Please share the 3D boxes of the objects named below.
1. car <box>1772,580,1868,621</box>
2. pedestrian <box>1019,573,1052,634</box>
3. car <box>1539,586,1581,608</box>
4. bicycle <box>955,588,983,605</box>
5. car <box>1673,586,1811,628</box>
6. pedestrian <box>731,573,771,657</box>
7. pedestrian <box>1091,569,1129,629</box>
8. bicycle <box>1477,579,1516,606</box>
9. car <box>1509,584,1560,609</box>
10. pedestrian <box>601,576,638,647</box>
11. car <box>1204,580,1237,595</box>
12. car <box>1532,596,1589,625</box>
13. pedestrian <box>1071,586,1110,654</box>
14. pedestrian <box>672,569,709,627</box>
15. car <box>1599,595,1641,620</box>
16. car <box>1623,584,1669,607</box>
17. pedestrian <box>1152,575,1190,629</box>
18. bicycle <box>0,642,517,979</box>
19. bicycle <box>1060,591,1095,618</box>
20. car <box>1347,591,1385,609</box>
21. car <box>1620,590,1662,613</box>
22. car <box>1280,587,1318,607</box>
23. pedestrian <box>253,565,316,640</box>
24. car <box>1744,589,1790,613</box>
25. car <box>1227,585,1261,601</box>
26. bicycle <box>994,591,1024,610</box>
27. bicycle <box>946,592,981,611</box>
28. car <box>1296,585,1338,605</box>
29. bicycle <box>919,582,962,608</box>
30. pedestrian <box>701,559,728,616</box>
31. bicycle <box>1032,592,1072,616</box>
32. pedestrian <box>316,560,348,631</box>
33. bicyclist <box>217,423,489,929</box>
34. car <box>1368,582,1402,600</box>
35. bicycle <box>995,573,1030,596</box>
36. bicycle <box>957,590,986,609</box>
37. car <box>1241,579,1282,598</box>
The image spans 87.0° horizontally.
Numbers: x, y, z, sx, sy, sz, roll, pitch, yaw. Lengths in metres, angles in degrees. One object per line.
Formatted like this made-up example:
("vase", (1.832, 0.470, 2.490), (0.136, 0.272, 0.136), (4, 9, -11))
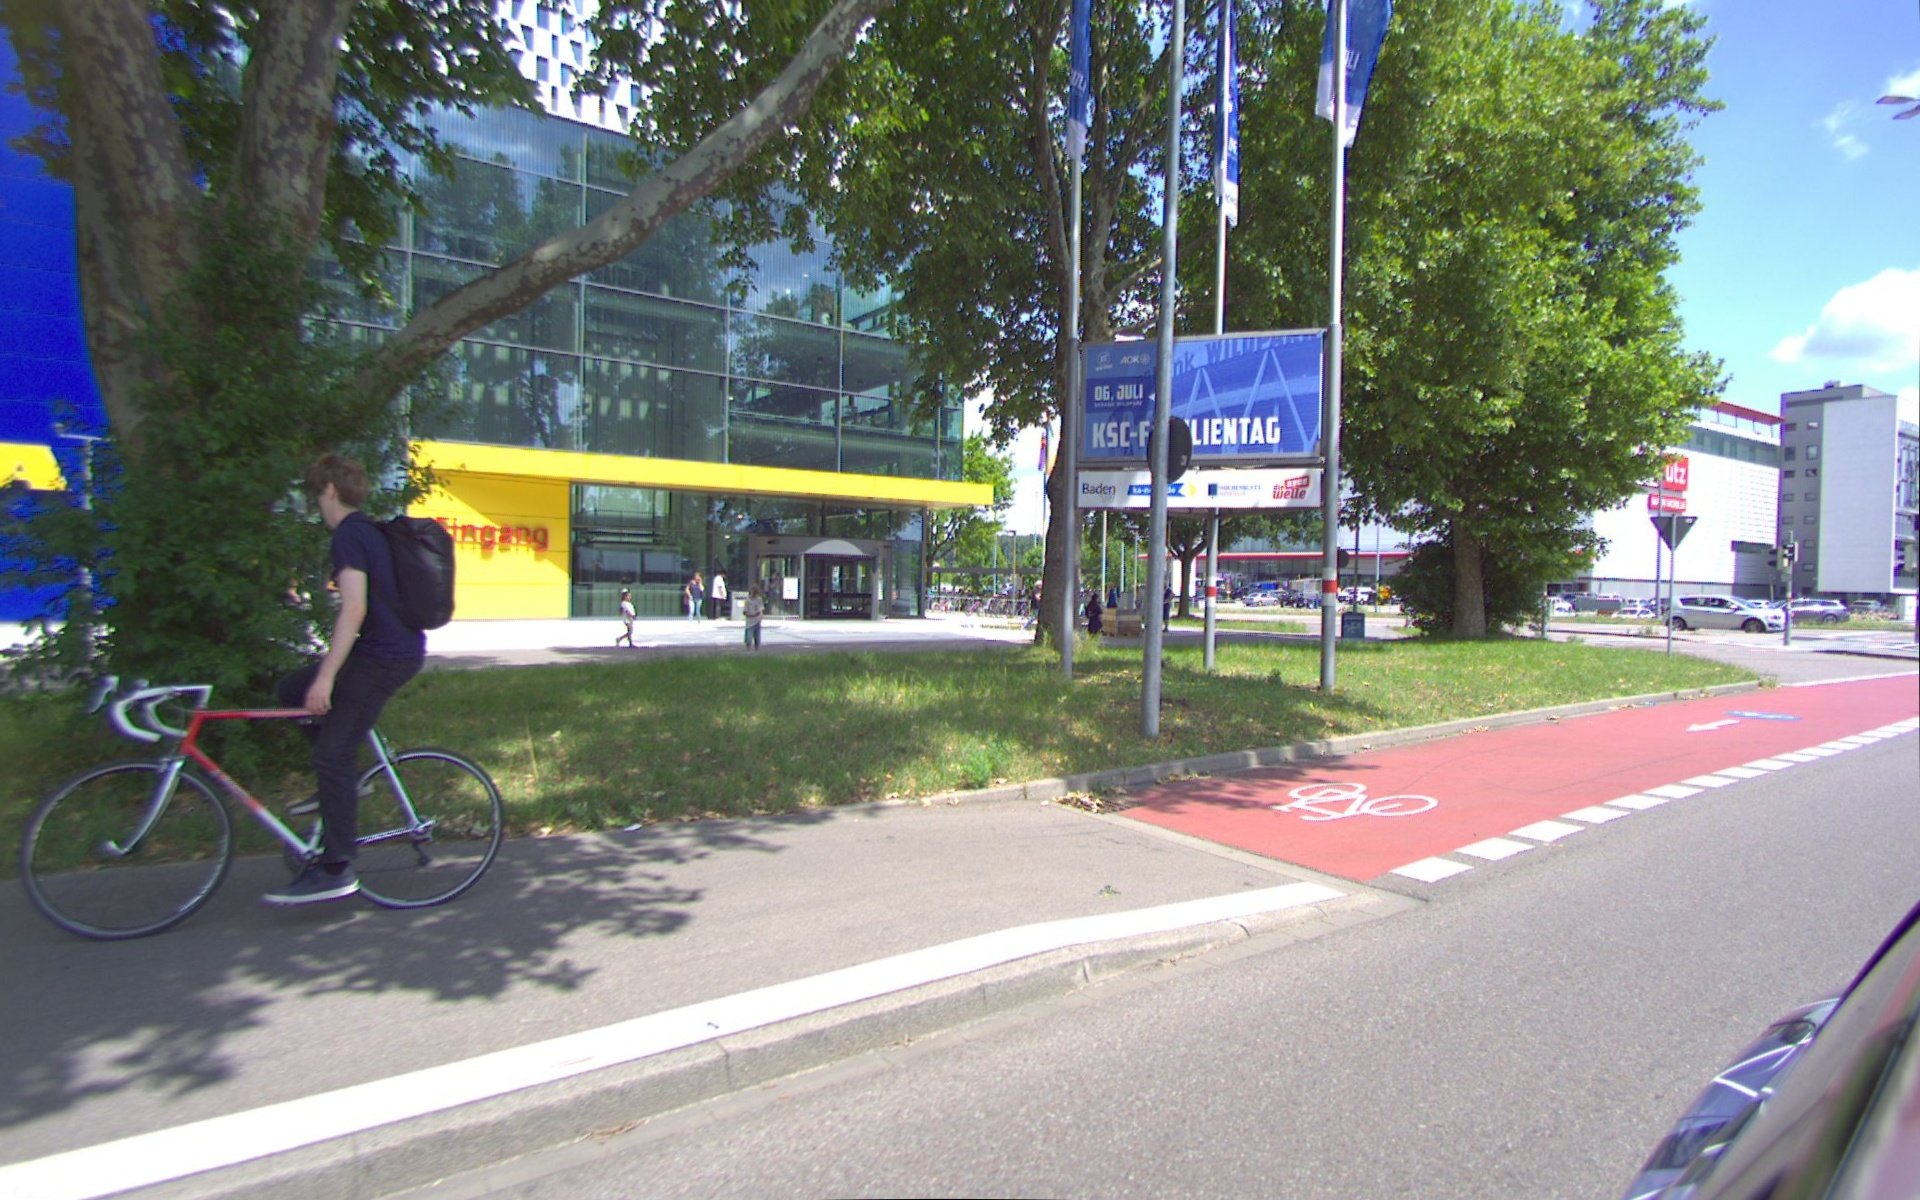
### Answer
("car", (44.919, 0.015, 52.870), (3.915, 2.039, 2.004), (1, 0, -17))
("pedestrian", (2.490, 0.095, 33.279), (0.874, 1.909, 0.971), (4, 1, 12))
("car", (58.897, -0.285, 99.302), (4.007, 2.014, 2.001), (0, 1, -34))
("bicycle", (0.578, -0.205, 64.114), (1.833, 1.007, 0.423), (3, -1, -38))
("car", (29.984, 0.233, 38.879), (1.865, 1.488, 3.833), (-2, 1, -35))
("pedestrian", (-4.560, 0.311, 22.092), (0.656, 1.794, 0.666), (0, 1, -32))
("pedestrian", (5.393, -0.053, 36.412), (0.989, 2.098, 0.976), (1, 1, -18))
("bicycle", (35.308, -0.504, 66.606), (1.001, 1.696, 2.050), (1, 0, -32))
("car", (49.346, -0.305, 86.925), (4.509, 2.013, 2.001), (-1, 2, -34))
("pedestrian", (-8.047, 0.263, 23.926), (0.653, 1.637, 0.591), (1, 1, -37))
("car", (35.271, -1.671, 137.091), (4.278, 2.014, 2.001), (0, 1, -34))
("car", (44.643, 0.761, 75.230), (4.278, 2.014, 2.001), (0, 1, -34))
("pedestrian", (3.352, 0.515, 26.023), (0.581, 1.683, 0.721), (2, 3, -29))
("pedestrian", (-8.125, -0.075, 30.484), (0.797, 1.684, 0.697), (2, 2, 27))
("car", (56.275, 0.636, 86.210), (1.994, 2.014, 5.223), (1, 1, 45))
("car", (63.342, -0.387, 93.368), (4.538, 2.014, 2.000), (0, 1, -35))
("pedestrian", (7.786, 0.062, 37.332), (0.989, 1.926, 0.976), (1, 1, -18))
("bicycle", (-2.887, 0.742, 3.997), (1.985, 1.011, 0.622), (-2, 1, -34))
("bicycle", (5.057, 0.179, 43.374), (0.502, 1.121, 1.899), (4, 2, 39))
("car", (47.434, -0.034, 118.178), (4.278, 2.014, 2.001), (0, 2, -34))
("car", (62.594, 0.127, 93.010), (3.925, 2.039, 2.000), (1, 0, -36))
("car", (36.271, -0.333, 108.168), (4.007, 2.014, 1.843), (-1, 2, -34))
("pedestrian", (-15.610, 0.055, 23.398), (0.875, 1.684, 0.781), (-2, 1, 17))
("car", (71.631, 0.076, 89.835), (4.278, 2.014, 2.001), (0, 1, -34))
("car", (37.370, -0.965, 133.152), (4.278, 2.014, 2.001), (0, 1, -34))
("bicycle", (2.756, 0.039, 57.247), (1.833, 1.007, 0.424), (1, 2, -38))
("bicycle", (0.196, 0.077, 50.155), (1.833, 0.893, 0.423), (2, 0, -38))
("car", (37.419, -0.578, 106.018), (4.279, 2.014, 2.001), (-1, 1, -34))
("bicycle", (-1.013, -0.261, 52.233), (2.102, 1.245, 0.722), (2, 0, -23))
("pedestrian", (-8.341, -0.431, 34.371), (0.766, 1.909, 0.619), (1, 0, -24))
("bicycle", (4.034, 0.178, 44.153), (1.831, 1.007, 0.424), (1, 0, -32))
("pedestrian", (-15.475, -0.112, 24.944), (0.413, 1.723, 0.544), (1, 0, 3))
("bicyclist", (-2.525, 0.274, 4.243), (0.906, 1.869, 0.611), (-1, 0, -34))
("car", (48.732, -1.042, 115.987), (3.923, 2.039, 1.778), (0, 0, -34))
("bicycle", (2.544, -0.730, 48.685), (1.833, 1.007, 0.424), (2, 1, -38))
("bicycle", (0.685, -0.022, 59.870), (1.833, 1.007, 0.423), (2, 0, -38))
("car", (33.365, -1.254, 111.909), (4.278, 2.014, 2.001), (0, 1, -34))
